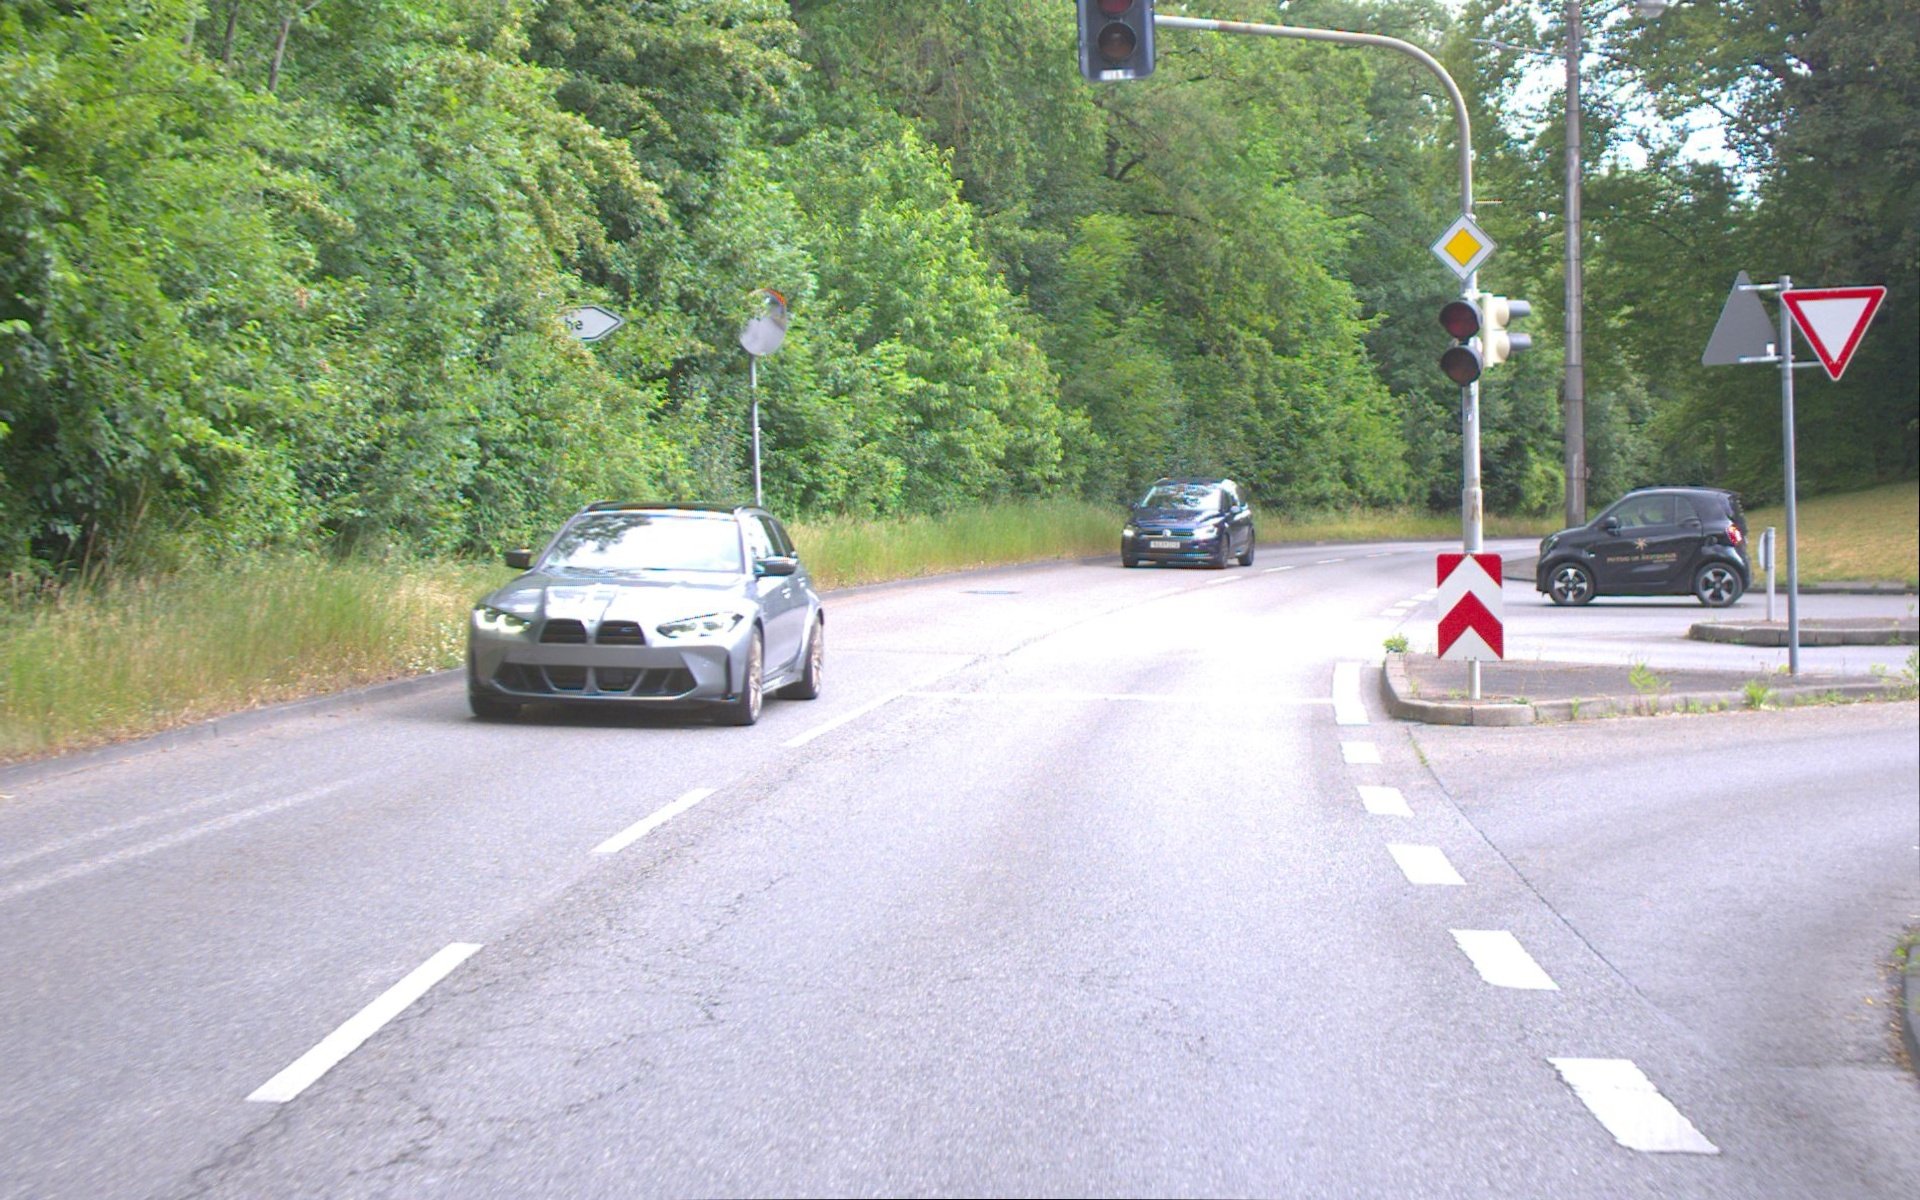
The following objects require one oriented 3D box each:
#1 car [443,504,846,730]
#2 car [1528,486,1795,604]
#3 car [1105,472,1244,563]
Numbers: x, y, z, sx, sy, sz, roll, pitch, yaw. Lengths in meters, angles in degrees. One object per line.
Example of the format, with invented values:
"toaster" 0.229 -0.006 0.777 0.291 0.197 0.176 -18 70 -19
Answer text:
"car" -2.093 0.054 24.270 1.899 1.349 4.841 3 1 6
"car" 9.105 -0.723 44.544 3.306 1.489 1.667 0 2 15
"car" 3.777 -1.446 59.798 1.790 1.509 4.840 0 1 11
